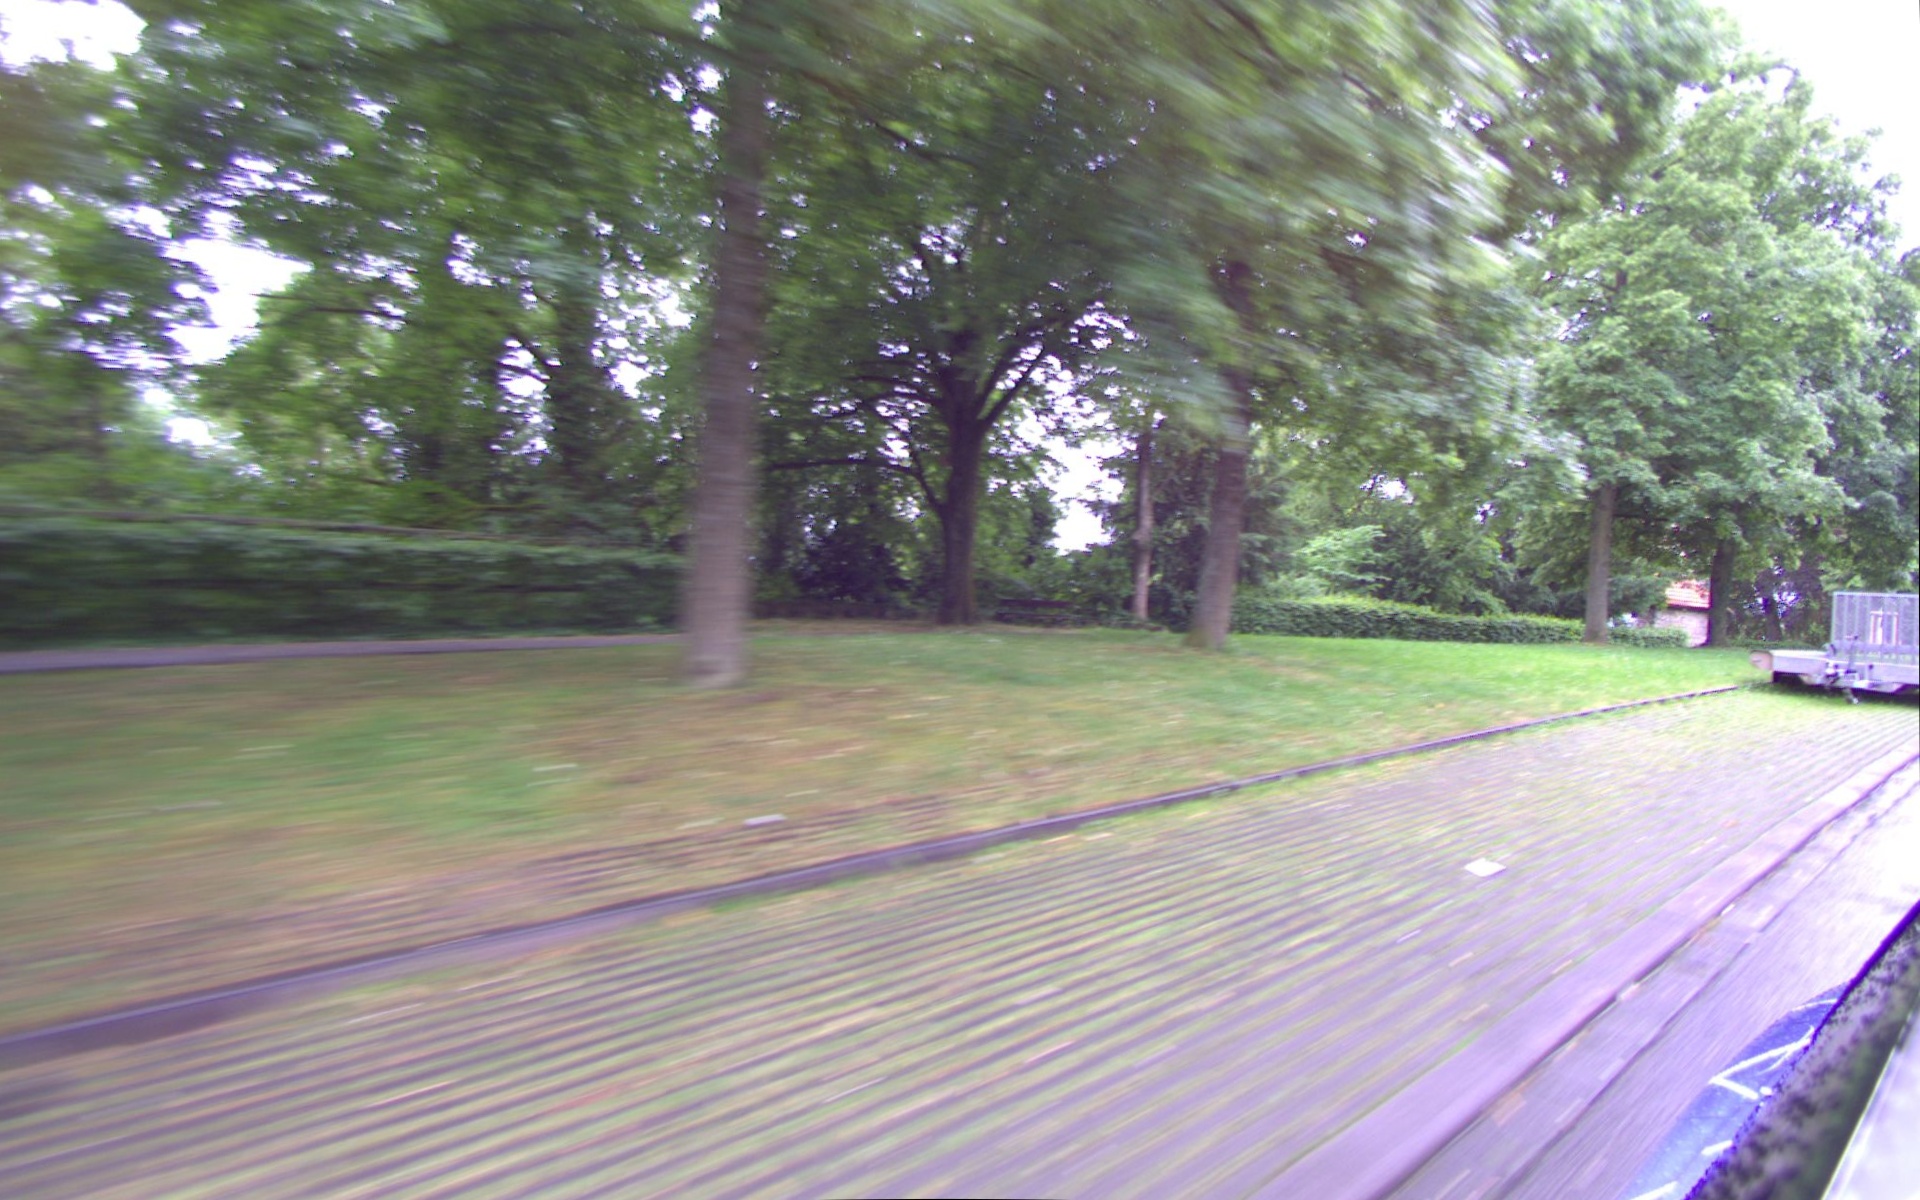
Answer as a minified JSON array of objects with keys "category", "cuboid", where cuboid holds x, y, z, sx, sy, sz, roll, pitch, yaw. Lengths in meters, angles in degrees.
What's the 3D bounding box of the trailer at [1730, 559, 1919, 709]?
[{"category":"trailer","cuboid":[13.844,0.423,15.078,5.786,1.835,2.456,0,2,-39]}]
